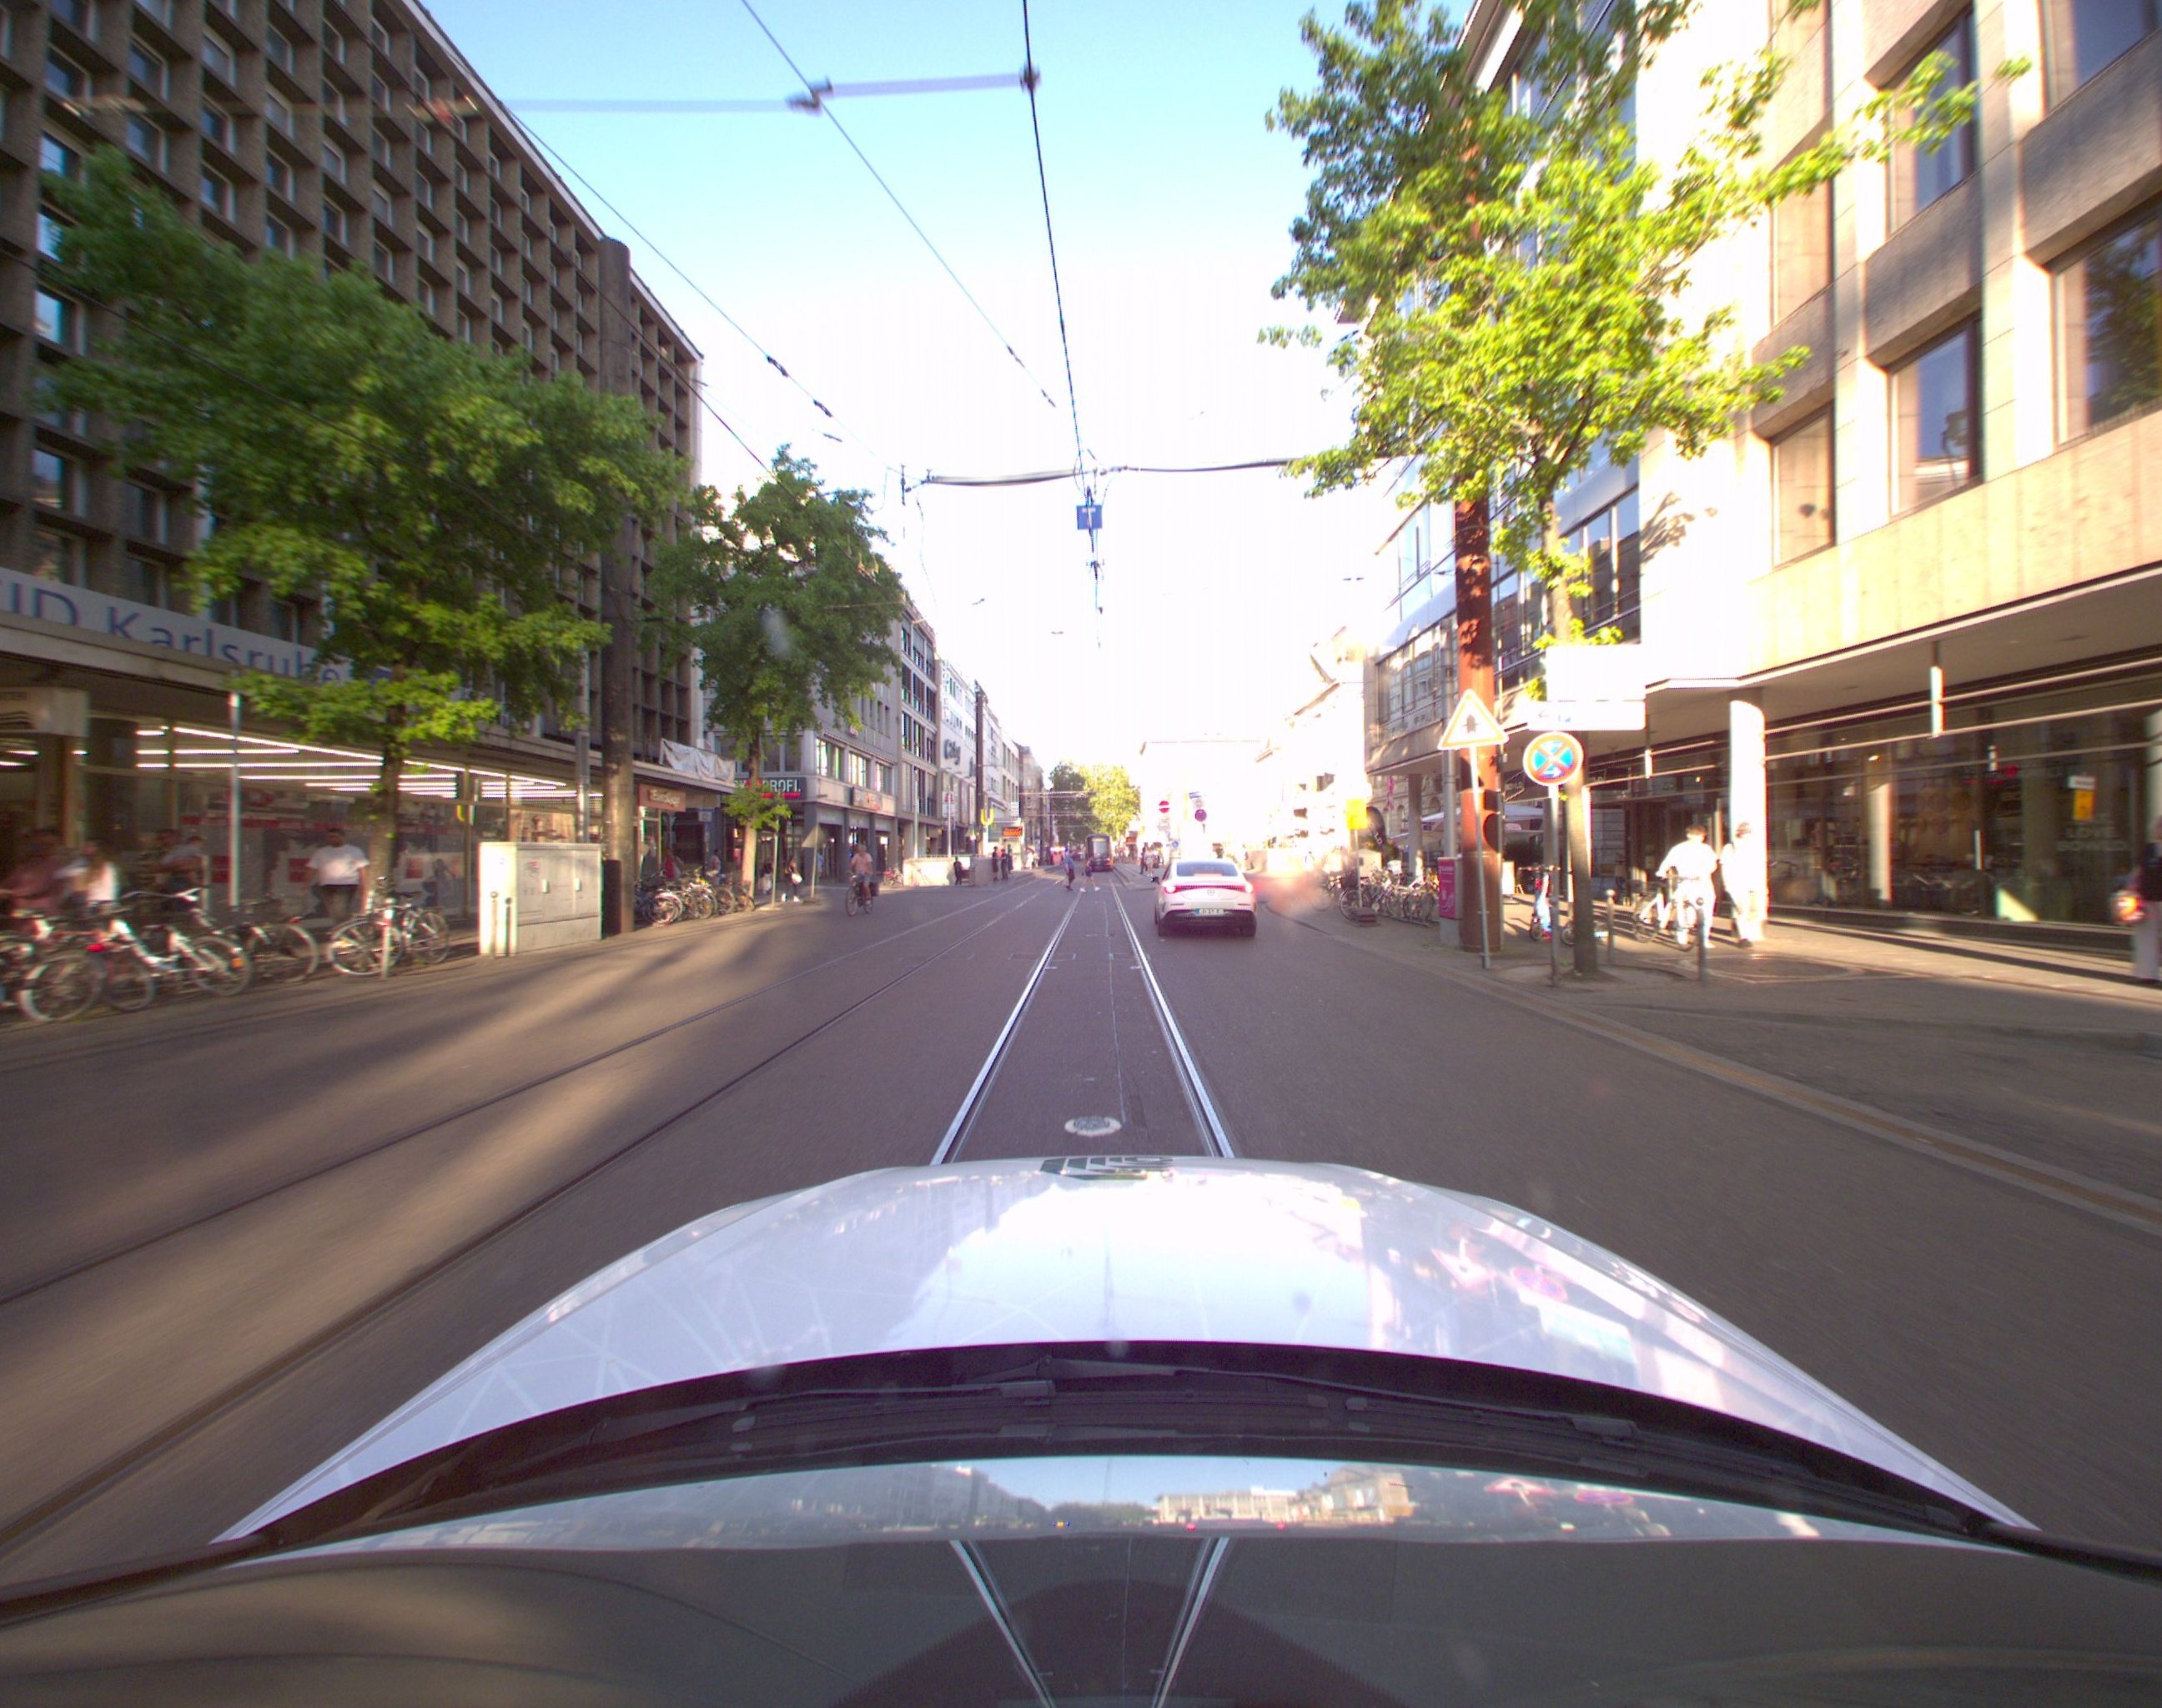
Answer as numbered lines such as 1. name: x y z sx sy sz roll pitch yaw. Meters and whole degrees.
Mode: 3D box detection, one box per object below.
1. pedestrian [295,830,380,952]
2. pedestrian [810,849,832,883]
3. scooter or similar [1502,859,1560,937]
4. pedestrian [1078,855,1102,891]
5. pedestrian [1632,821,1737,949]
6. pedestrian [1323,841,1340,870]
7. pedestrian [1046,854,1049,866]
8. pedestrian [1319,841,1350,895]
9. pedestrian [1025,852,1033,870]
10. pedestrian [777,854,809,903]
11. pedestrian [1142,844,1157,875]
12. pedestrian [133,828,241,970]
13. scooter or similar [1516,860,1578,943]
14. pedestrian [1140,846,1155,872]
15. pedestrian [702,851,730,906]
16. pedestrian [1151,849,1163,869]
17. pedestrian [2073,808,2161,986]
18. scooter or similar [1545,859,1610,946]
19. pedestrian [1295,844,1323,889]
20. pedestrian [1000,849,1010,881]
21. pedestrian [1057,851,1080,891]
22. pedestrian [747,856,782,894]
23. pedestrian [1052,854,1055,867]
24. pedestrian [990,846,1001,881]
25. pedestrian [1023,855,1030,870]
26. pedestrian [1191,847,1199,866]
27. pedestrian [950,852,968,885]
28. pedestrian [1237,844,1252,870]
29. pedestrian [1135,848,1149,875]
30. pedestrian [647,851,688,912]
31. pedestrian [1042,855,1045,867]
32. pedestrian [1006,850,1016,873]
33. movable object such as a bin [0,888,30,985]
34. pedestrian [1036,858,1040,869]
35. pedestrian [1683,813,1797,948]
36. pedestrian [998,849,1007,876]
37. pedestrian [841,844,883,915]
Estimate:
1. pedestrian: -11.156 0.533 12.238 0.789 1.766 0.533 -1 0 -23
2. pedestrian: -13.374 0.629 41.887 0.819 1.706 0.980 -1 0 -1
3. scooter or similar: 7.666 0.729 13.881 0.527 1.277 0.658 -2 0 -10
4. pedestrian: 0.391 0.794 34.912 0.952 1.496 0.944 -1 0 2
5. pedestrian: 8.758 0.440 11.845 0.896 1.744 0.690 -4 0 0
6. pedestrian: 15.924 0.110 51.832 0.720 1.785 1.005 -2 0 1
7. pedestrian: -4.596 0.843 112.110 0.412 1.630 0.606 -1 0 2
8. pedestrian: 8.574 0.467 27.570 0.746 1.785 0.767 -2 0 1
9. pedestrian: -4.693 0.629 73.110 0.658 1.599 0.573 -1 0 0
10. pedestrian: -9.871 0.831 27.968 0.747 1.623 0.980 -1 0 -1
11. pedestrian: 3.815 0.309 45.659 0.744 1.698 0.840 -1 0 -1
12. pedestrian: -11.597 0.558 10.595 0.717 1.766 0.679 -1 0 -23
13. scooter or similar: 7.526 0.750 13.170 0.527 1.277 0.658 -2 0 -10
14. pedestrian: 4.758 0.358 58.669 0.957 1.785 0.804 -2 0 0
15. pedestrian: -12.042 0.794 26.859 0.728 1.761 0.810 -1 0 -34
16. pedestrian: 6.992 0.484 75.054 0.957 1.785 0.804 -2 0 0
17. pedestrian: 10.373 0.394 7.859 0.634 1.653 0.781 0 0 2
18. scooter or similar: 7.583 0.724 12.453 0.491 1.277 0.658 -2 0 -10
19. pedestrian: 9.399 0.505 33.596 0.838 1.785 0.804 -2 0 1
20. pedestrian: -4.200 0.592 45.092 0.518 1.760 0.550 -1 0 -4
21. pedestrian: -0.538 0.721 35.258 0.901 1.698 0.849 -1 0 2
22. pedestrian: -13.520 0.895 34.795 0.968 1.562 1.020 -1 0 40
23. pedestrian: -3.675 0.860 108.178 0.412 1.630 0.606 -1 0 2
24. pedestrian: -4.717 0.517 44.809 0.570 1.929 0.540 -1 0 -4
25. pedestrian: -5.692 0.891 84.372 0.658 1.599 0.573 -1 0 0
26. pedestrian: 10.914 0.265 78.003 0.724 1.785 0.707 0 0 1
27. pedestrian: -6.308 0.736 42.148 0.780 1.717 0.840 -1 0 -1
28. pedestrian: 10.943 0.204 54.499 0.815 1.685 0.804 -2 0 1
29. pedestrian: 3.762 0.464 50.167 0.834 1.662 0.786 -1 0 3
30. pedestrian: -12.244 0.798 24.135 0.813 1.761 0.779 -1 0 -1
31. pedestrian: -5.438 0.980 117.261 0.412 1.630 0.606 -1 0 2
32. pedestrian: -4.641 0.486 54.224 0.613 1.545 0.650 -1 0 -1
33. movable object such as a bin: -11.969 0.899 8.508 0.713 1.039 0.980 -1 0 -5
34. pedestrian: -6.290 1.369 118.875 0.605 1.630 0.413 -1 0 -15
35. pedestrian: 9.436 0.368 11.707 0.698 1.812 1.033 -4 0 1
36. pedestrian: -4.717 0.527 49.011 0.531 1.613 0.540 -1 0 -4
37. pedestrian: -5.613 0.642 20.881 0.797 1.782 0.849 1 0 0
